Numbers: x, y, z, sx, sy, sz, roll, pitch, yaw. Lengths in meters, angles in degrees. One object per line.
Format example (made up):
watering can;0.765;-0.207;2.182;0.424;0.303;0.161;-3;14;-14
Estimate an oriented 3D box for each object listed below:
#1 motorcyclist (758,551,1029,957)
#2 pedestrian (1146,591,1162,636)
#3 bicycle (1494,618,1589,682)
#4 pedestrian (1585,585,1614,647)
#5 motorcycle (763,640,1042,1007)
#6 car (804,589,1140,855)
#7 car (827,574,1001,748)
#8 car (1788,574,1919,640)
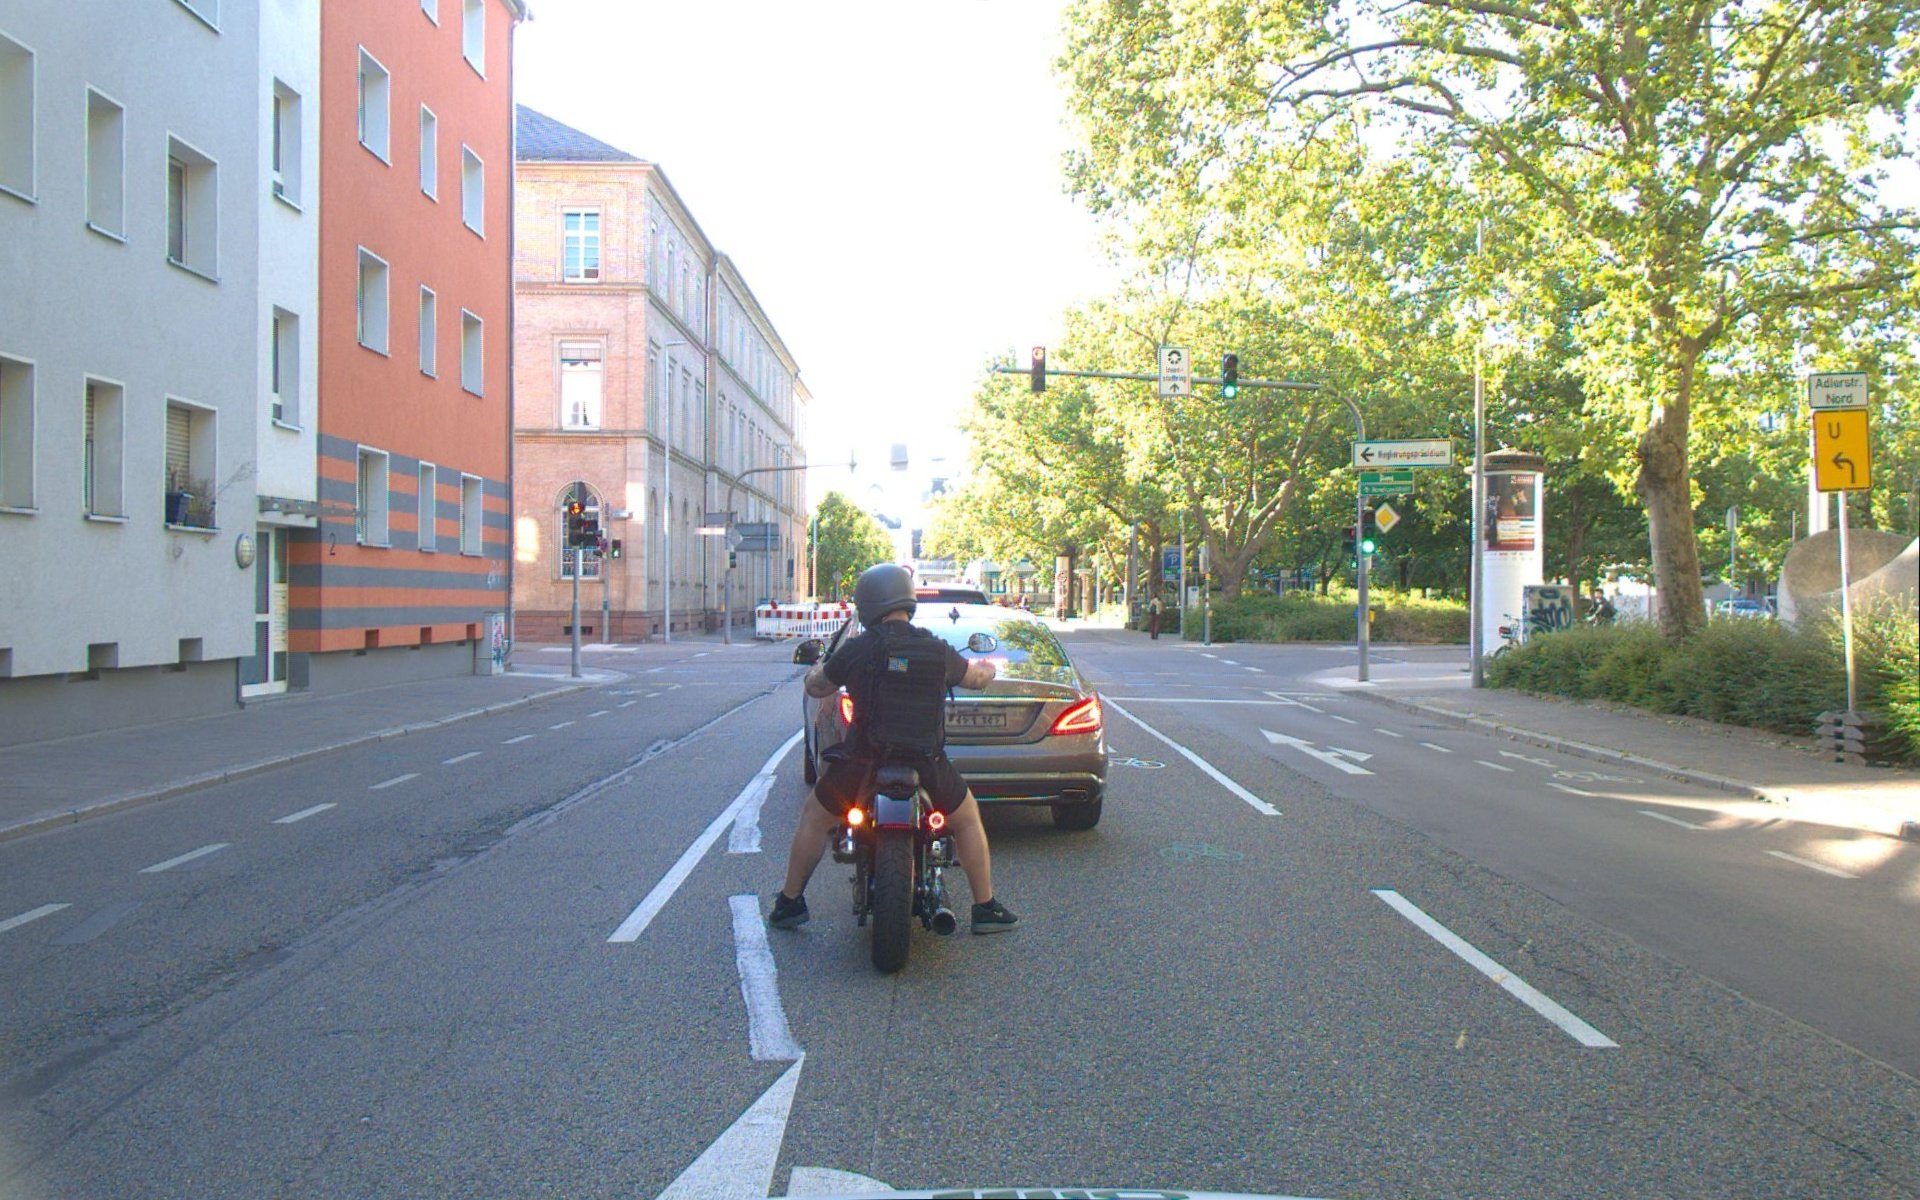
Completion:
motorcyclist;-0.278;0.623;7.306;1.090;1.641;1.202;0;0;-1
pedestrian;7.290;0.509;62.140;0.548;1.707;0.564;0;0;-1
bicycle;9.695;0.832;27.590;1.387;1.055;0.538;0;0;-5
pedestrian;18.723;0.460;48.462;0.607;1.815;0.630;0;0;1
motorcycle;-0.223;0.828;7.213;0.987;1.225;2.664;0;0;-1
car;-0.121;0.686;11.624;1.787;1.502;4.346;0;0;-7
car;-0.501;0.577;17.598;1.647;1.653;3.839;0;0;-2
car;25.754;0.191;46.536;3.912;1.815;2.001;0;0;4
